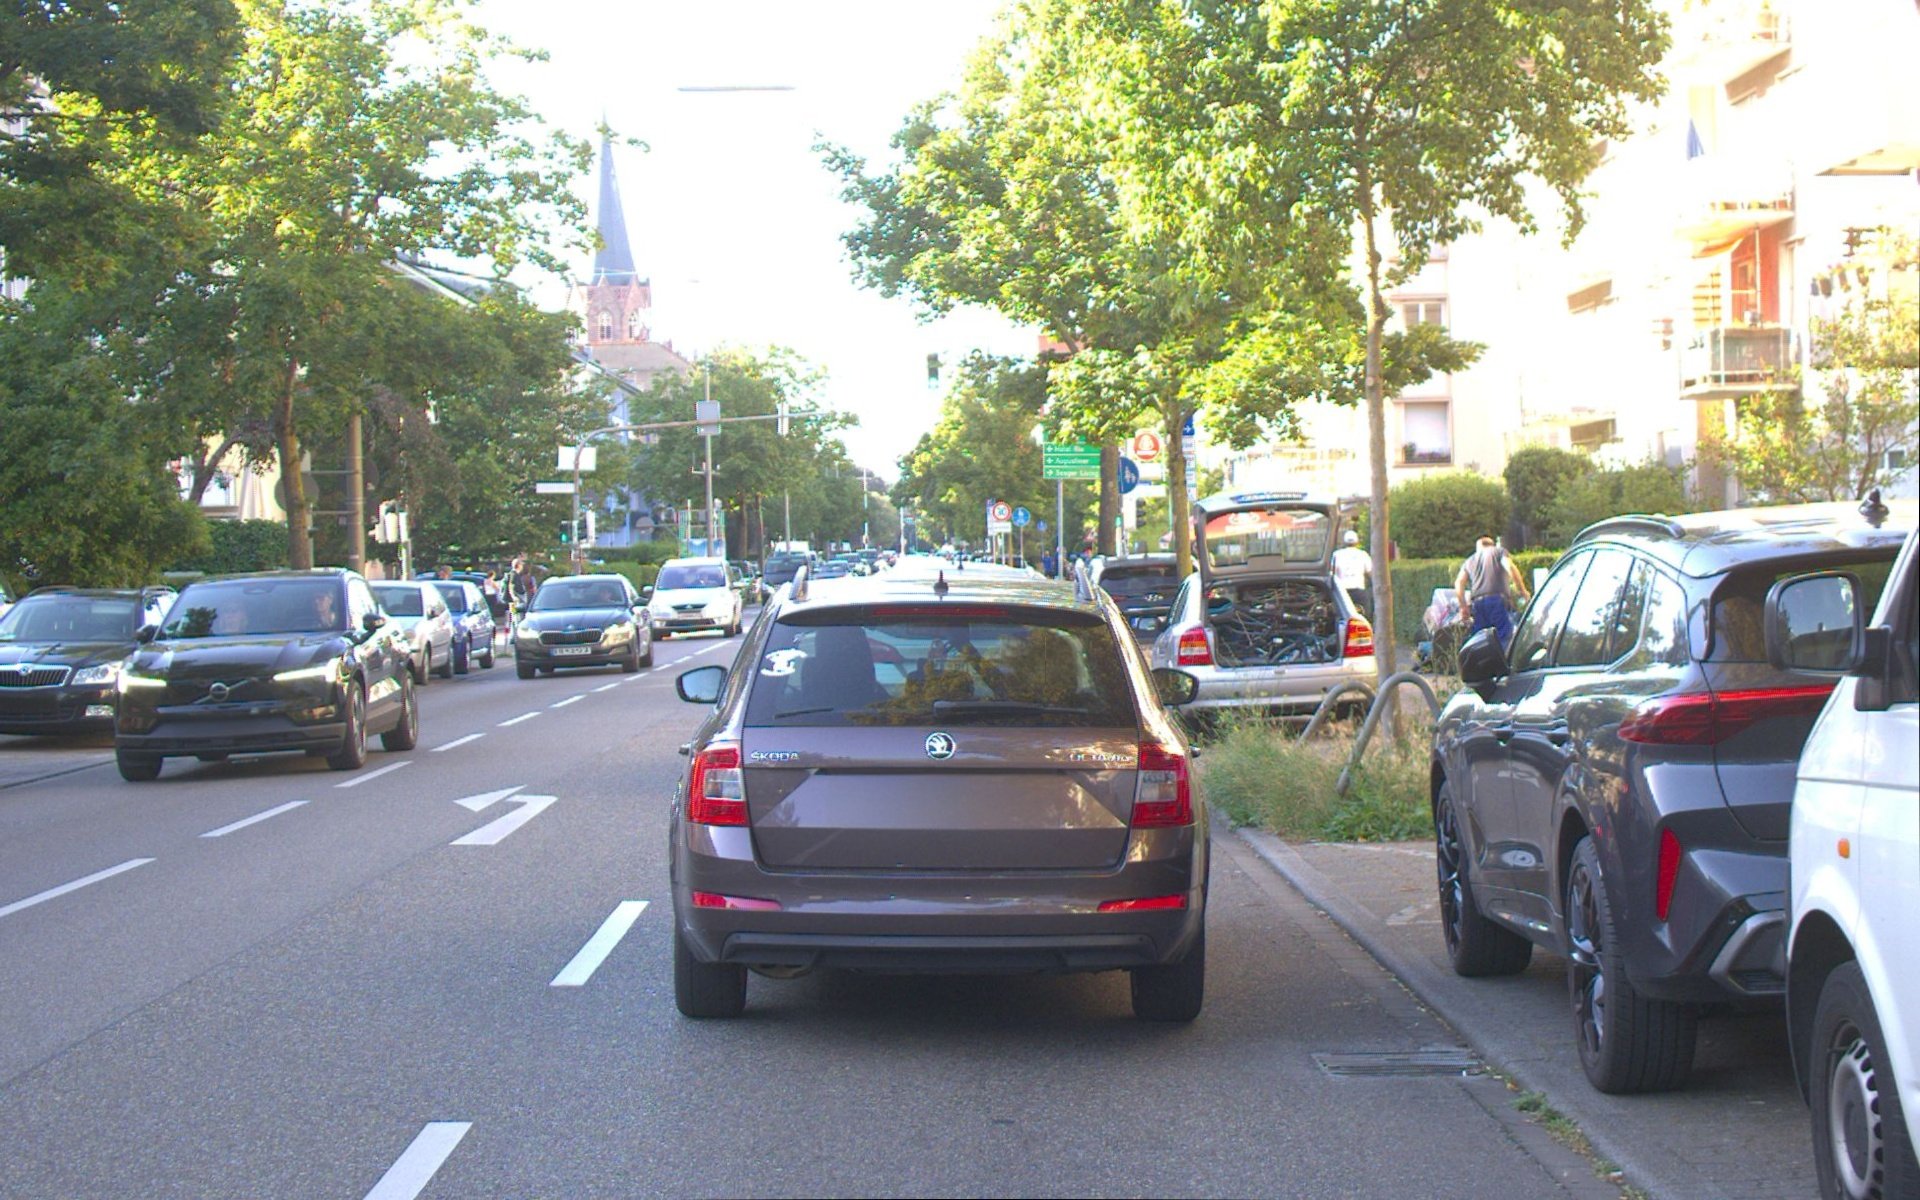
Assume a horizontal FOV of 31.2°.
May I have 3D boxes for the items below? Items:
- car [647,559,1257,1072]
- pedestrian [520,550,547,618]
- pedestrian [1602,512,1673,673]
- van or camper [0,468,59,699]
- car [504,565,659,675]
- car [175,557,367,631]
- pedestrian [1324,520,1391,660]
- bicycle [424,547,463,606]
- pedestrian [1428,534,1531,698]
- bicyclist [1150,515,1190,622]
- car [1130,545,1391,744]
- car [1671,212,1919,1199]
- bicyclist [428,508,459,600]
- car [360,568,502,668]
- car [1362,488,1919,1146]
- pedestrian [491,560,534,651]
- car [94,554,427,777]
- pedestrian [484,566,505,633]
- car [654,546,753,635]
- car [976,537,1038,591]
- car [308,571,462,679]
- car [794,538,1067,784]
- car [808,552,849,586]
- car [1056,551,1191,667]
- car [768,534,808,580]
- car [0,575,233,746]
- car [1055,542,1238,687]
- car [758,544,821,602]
[{"bbox_3d":[-0.056,0.600,12.155,1.773,1.484,4.311,0,1,-1],"label":"car"},{"bbox_3d":[-11.438,-0.436,92.253,0.616,1.791,0.504,-2,1,0],"label":"pedestrian"},{"bbox_3d":[6.976,-0.084,35.424,0.474,1.634,0.536,-2,1,-19],"label":"pedestrian"},{"bbox_3d":[-14.831,-0.273,42.400,6.797,2.763,2.352,1,1,-1],"label":"van or camper"},{"bbox_3d":[-5.602,0.259,51.352,1.760,1.447,4.534,-3,1,0],"label":"car"},{"bbox_3d":[-18.087,-0.162,90.367,4.634,1.805,1.862,-1,1,-1],"label":"car"},{"bbox_3d":[5.100,-0.129,44.148,0.662,1.743,0.772,-3,0,-1],"label":"pedestrian"},{"bbox_3d":[-9.474,-0.441,63.055,0.486,1.060,1.534,-1,1,-1],"label":"bicycle"},{"bbox_3d":[5.259,0.157,34.774,0.757,1.634,0.694,-1,1,36],"label":"pedestrian"},{"bbox_3d":[3.524,-0.530,57.624,0.581,1.782,0.852,-1,1,0],"label":"bicyclist"},{"bbox_3d":[2.474,0.324,29.221,1.708,1.475,4.268,-3,1,-1],"label":"car"},{"bbox_3d":[2.639,0.370,5.370,1.903,2.096,4.641,-1,1,-2],"label":"car"},{"bbox_3d":[-9.460,-0.845,62.970,0.468,1.657,0.552,-1,1,-1],"label":"bicyclist"},{"bbox_3d":[-8.369,0.256,54.653,1.648,1.512,4.074,0,1,0],"label":"car"},{"bbox_3d":[2.520,0.481,10.773,1.856,1.598,4.311,-4,1,-1],"label":"car"},{"bbox_3d":[-9.850,0.120,75.613,0.780,1.981,0.821,-2,1,0],"label":"pedestrian"},{"bbox_3d":[-5.516,0.478,27.596,1.835,1.565,4.000,-3,0,-1],"label":"car"},{"bbox_3d":[-12.569,-0.018,92.768,0.449,1.791,0.504,-2,1,0],"label":"pedestrian"},{"bbox_3d":[-5.554,-0.228,74.895,1.805,1.798,4.746,-3,1,-1],"label":"car"},{"bbox_3d":[1.607,-1.227,116.658,1.994,1.766,4.000,1,1,2],"label":"car"},{"bbox_3d":[-8.334,0.339,50.067,1.593,1.465,3.803,1,1,0],"label":"car"},{"bbox_3d":[-0.178,0.366,24.091,1.737,1.565,4.000,1,1,0],"label":"car"},{"bbox_3d":[-6.431,-1.518,168.581,1.830,1.574,4.000,-2,1,0],"label":"car"},{"bbox_3d":[2.215,0.085,47.260,1.703,1.445,4.013,-3,1,2],"label":"car"},{"bbox_3d":[-9.478,-2.375,189.279,1.993,2.469,4.000,-1,1,0],"label":"car"},{"bbox_3d":[-8.360,0.521,32.876,1.867,1.489,4.517,0,1,0],"label":"car"},{"bbox_3d":[2.198,0.138,41.480,1.856,1.576,4.014,-3,1,-1],"label":"car"},{"bbox_3d":[-6.104,-0.978,123.356,1.993,1.902,4.964,-3,1,-1],"label":"car"}]
